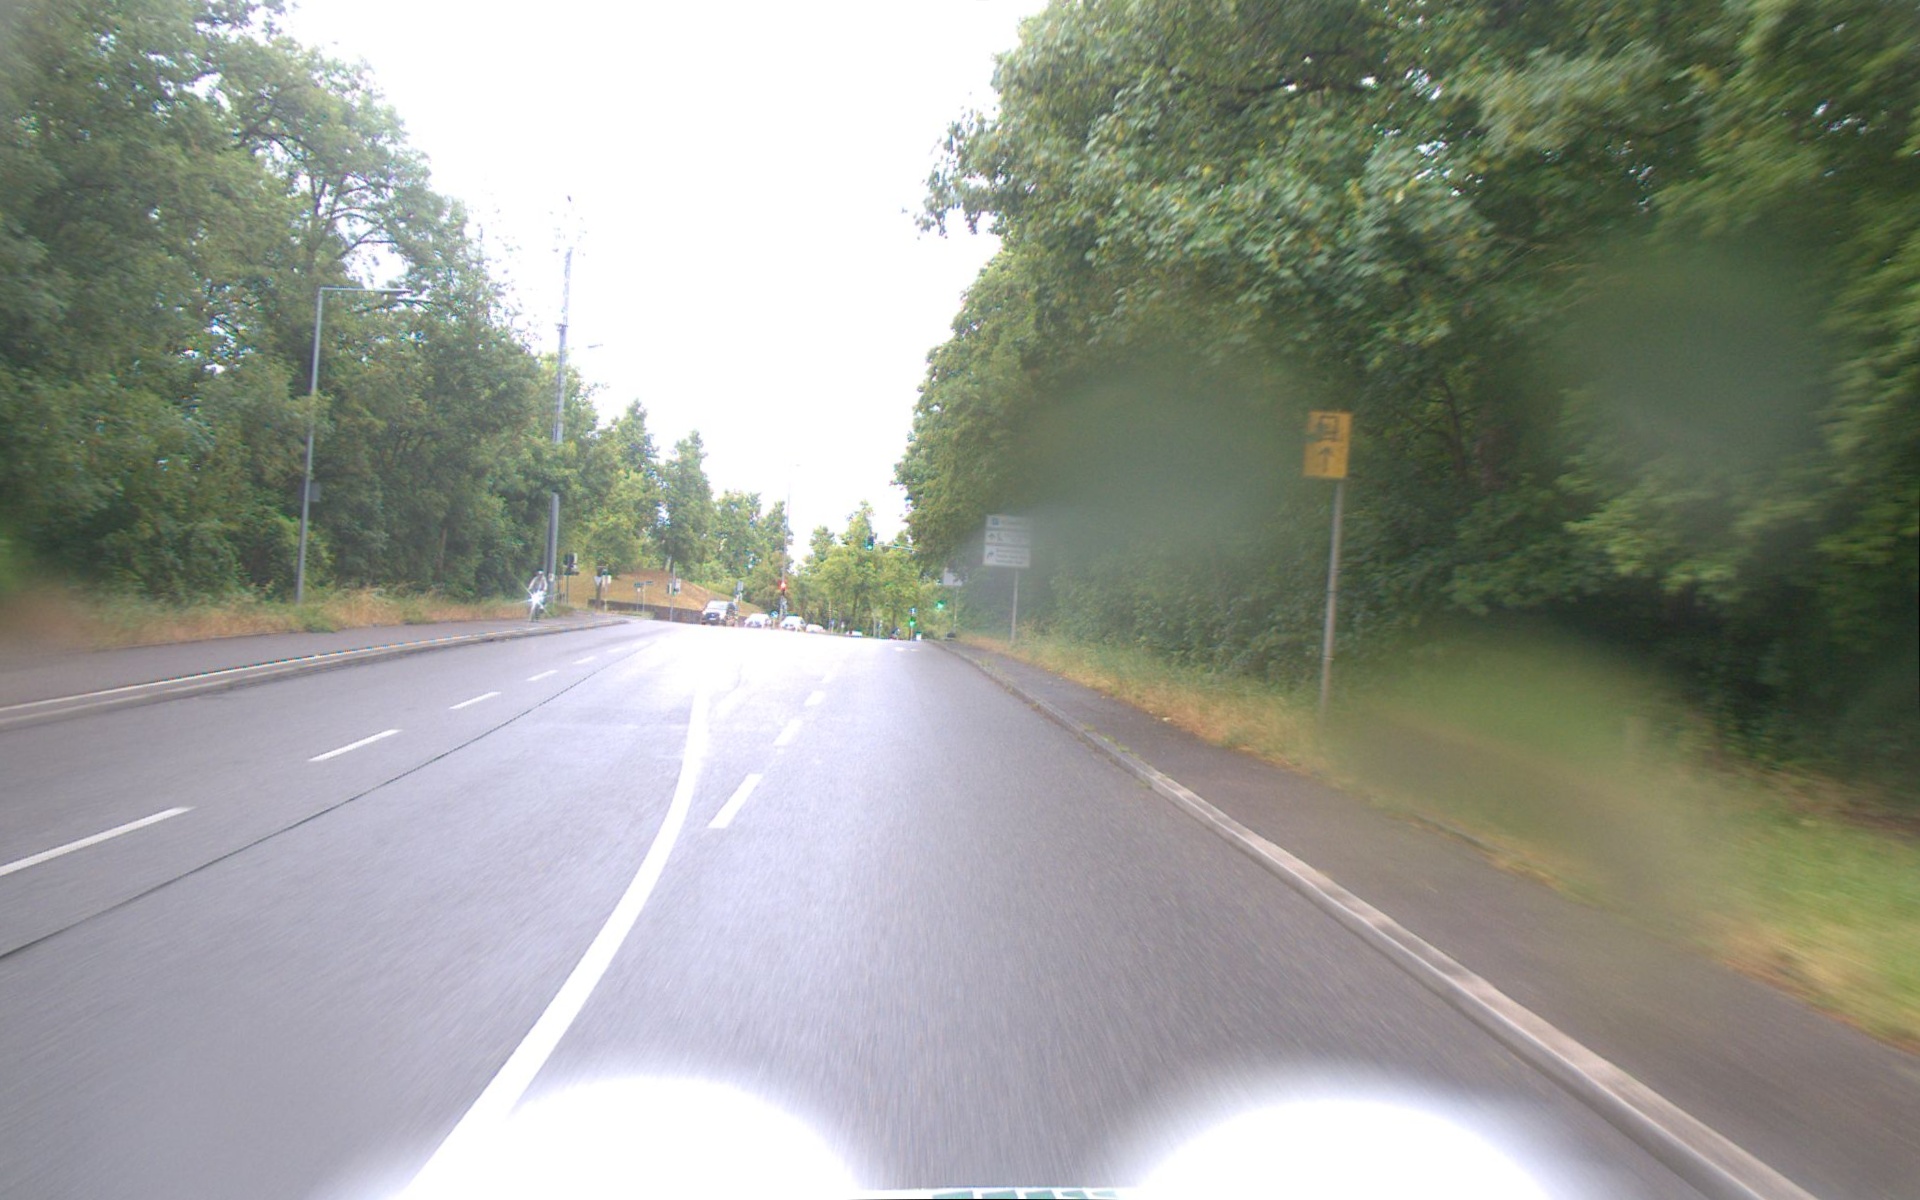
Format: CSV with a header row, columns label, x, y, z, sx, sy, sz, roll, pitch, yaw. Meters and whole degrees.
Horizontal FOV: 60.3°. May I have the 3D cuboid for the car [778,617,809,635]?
label,x,y,z,sx,sy,sz,roll,pitch,yaw
car,-13.699,2.136,136.260,1.857,1.378,4.002,1,-2,4

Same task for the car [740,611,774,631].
label,x,y,z,sx,sy,sz,roll,pitch,yaw
car,-16.923,1.757,138.178,1.857,1.578,4.003,1,-2,8

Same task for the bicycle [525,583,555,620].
label,x,y,z,sx,sy,sz,roll,pitch,yaw
bicycle,-14.843,0.039,58.462,0.691,1.264,2.161,2,0,-6

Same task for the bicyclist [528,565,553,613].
label,x,y,z,sx,sy,sz,roll,pitch,yaw
bicyclist,-14.824,-0.379,58.482,0.691,1.673,0.950,2,0,-6

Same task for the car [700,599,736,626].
label,x,y,z,sx,sy,sz,roll,pitch,yaw
car,-17.902,0.970,122.588,1.952,1.881,4.000,1,-2,2
